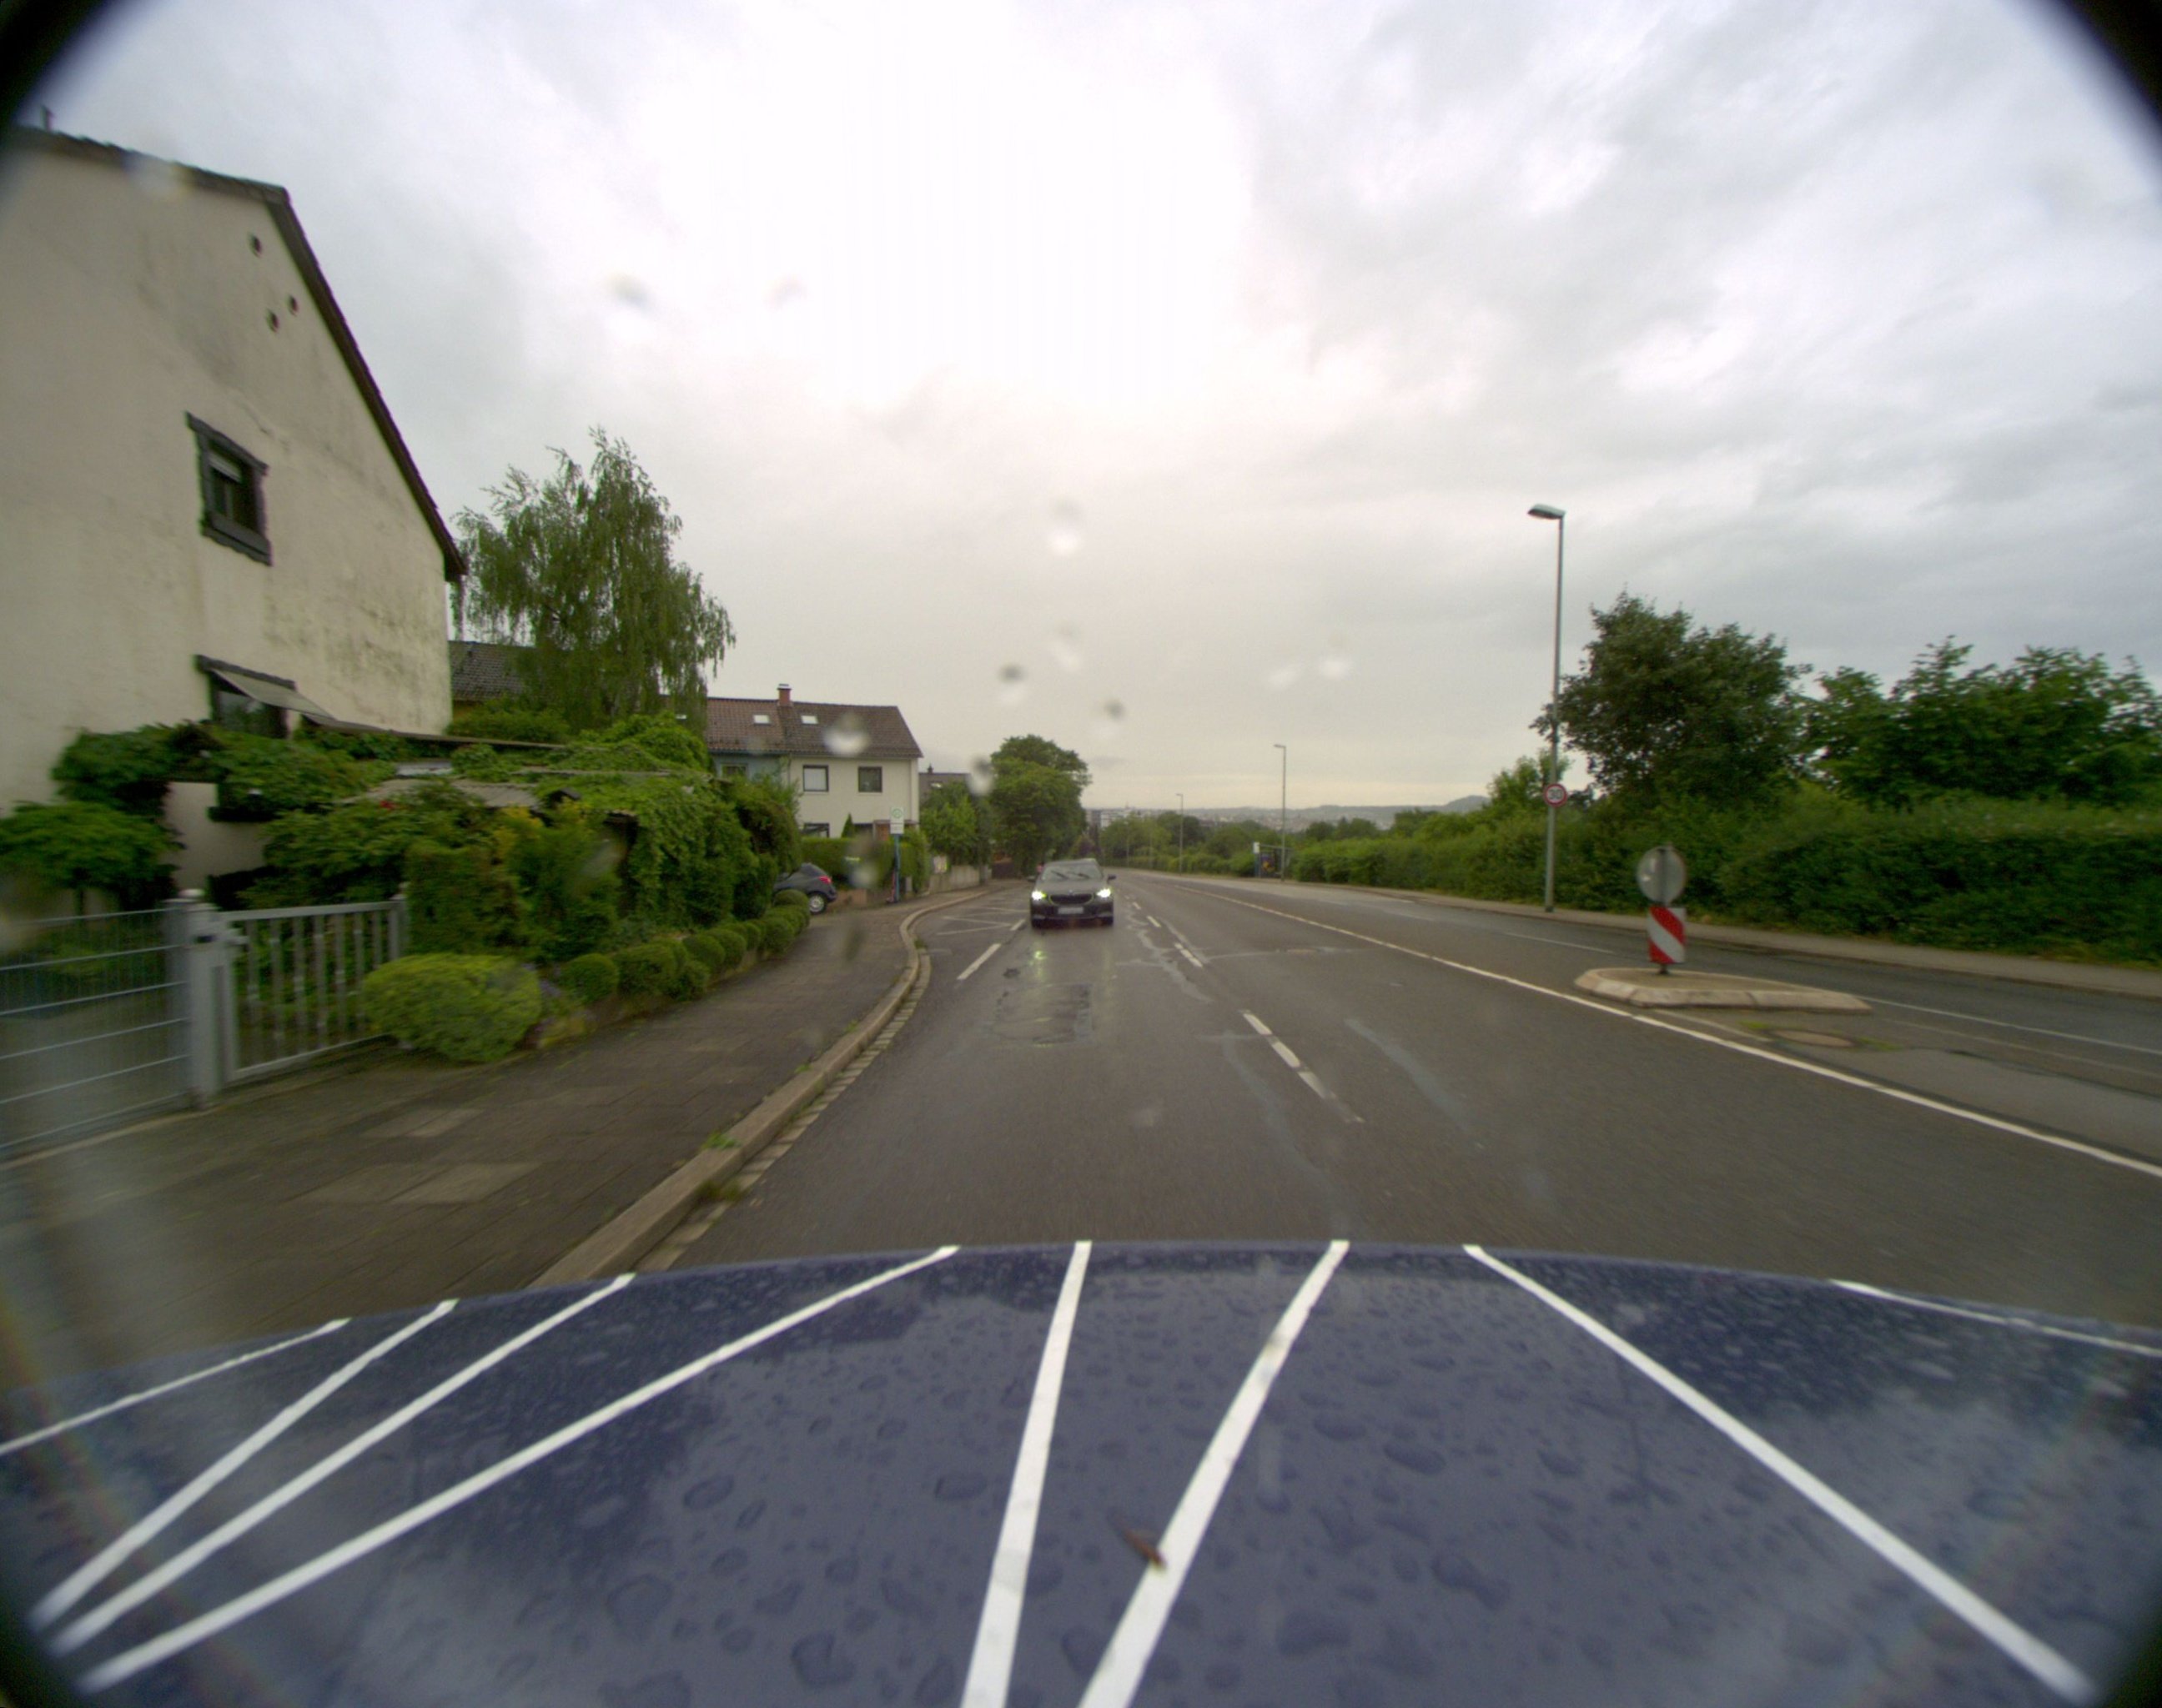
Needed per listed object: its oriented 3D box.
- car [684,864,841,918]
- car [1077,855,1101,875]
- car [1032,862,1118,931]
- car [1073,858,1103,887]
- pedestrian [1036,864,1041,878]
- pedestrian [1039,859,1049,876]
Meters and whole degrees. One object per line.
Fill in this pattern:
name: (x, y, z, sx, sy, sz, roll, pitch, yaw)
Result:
car: (-8.444, 0.936, 20.329, 3.712, 1.290, 1.769, 0, 0, -23)
car: (0.701, 0.981, 68.951, 1.704, 1.670, 4.281, 0, 0, -5)
car: (-0.251, 0.935, 18.539, 1.846, 1.370, 4.281, -1, 1, -3)
car: (0.385, 0.954, 41.597, 1.550, 1.505, 4.283, 0, 0, 1)
pedestrian: (-3.332, 1.323, 59.403, 0.368, 1.140, 0.366, 0, 0, 9)
pedestrian: (-2.877, 1.035, 58.950, 0.603, 1.347, 0.646, 0, 0, 9)
